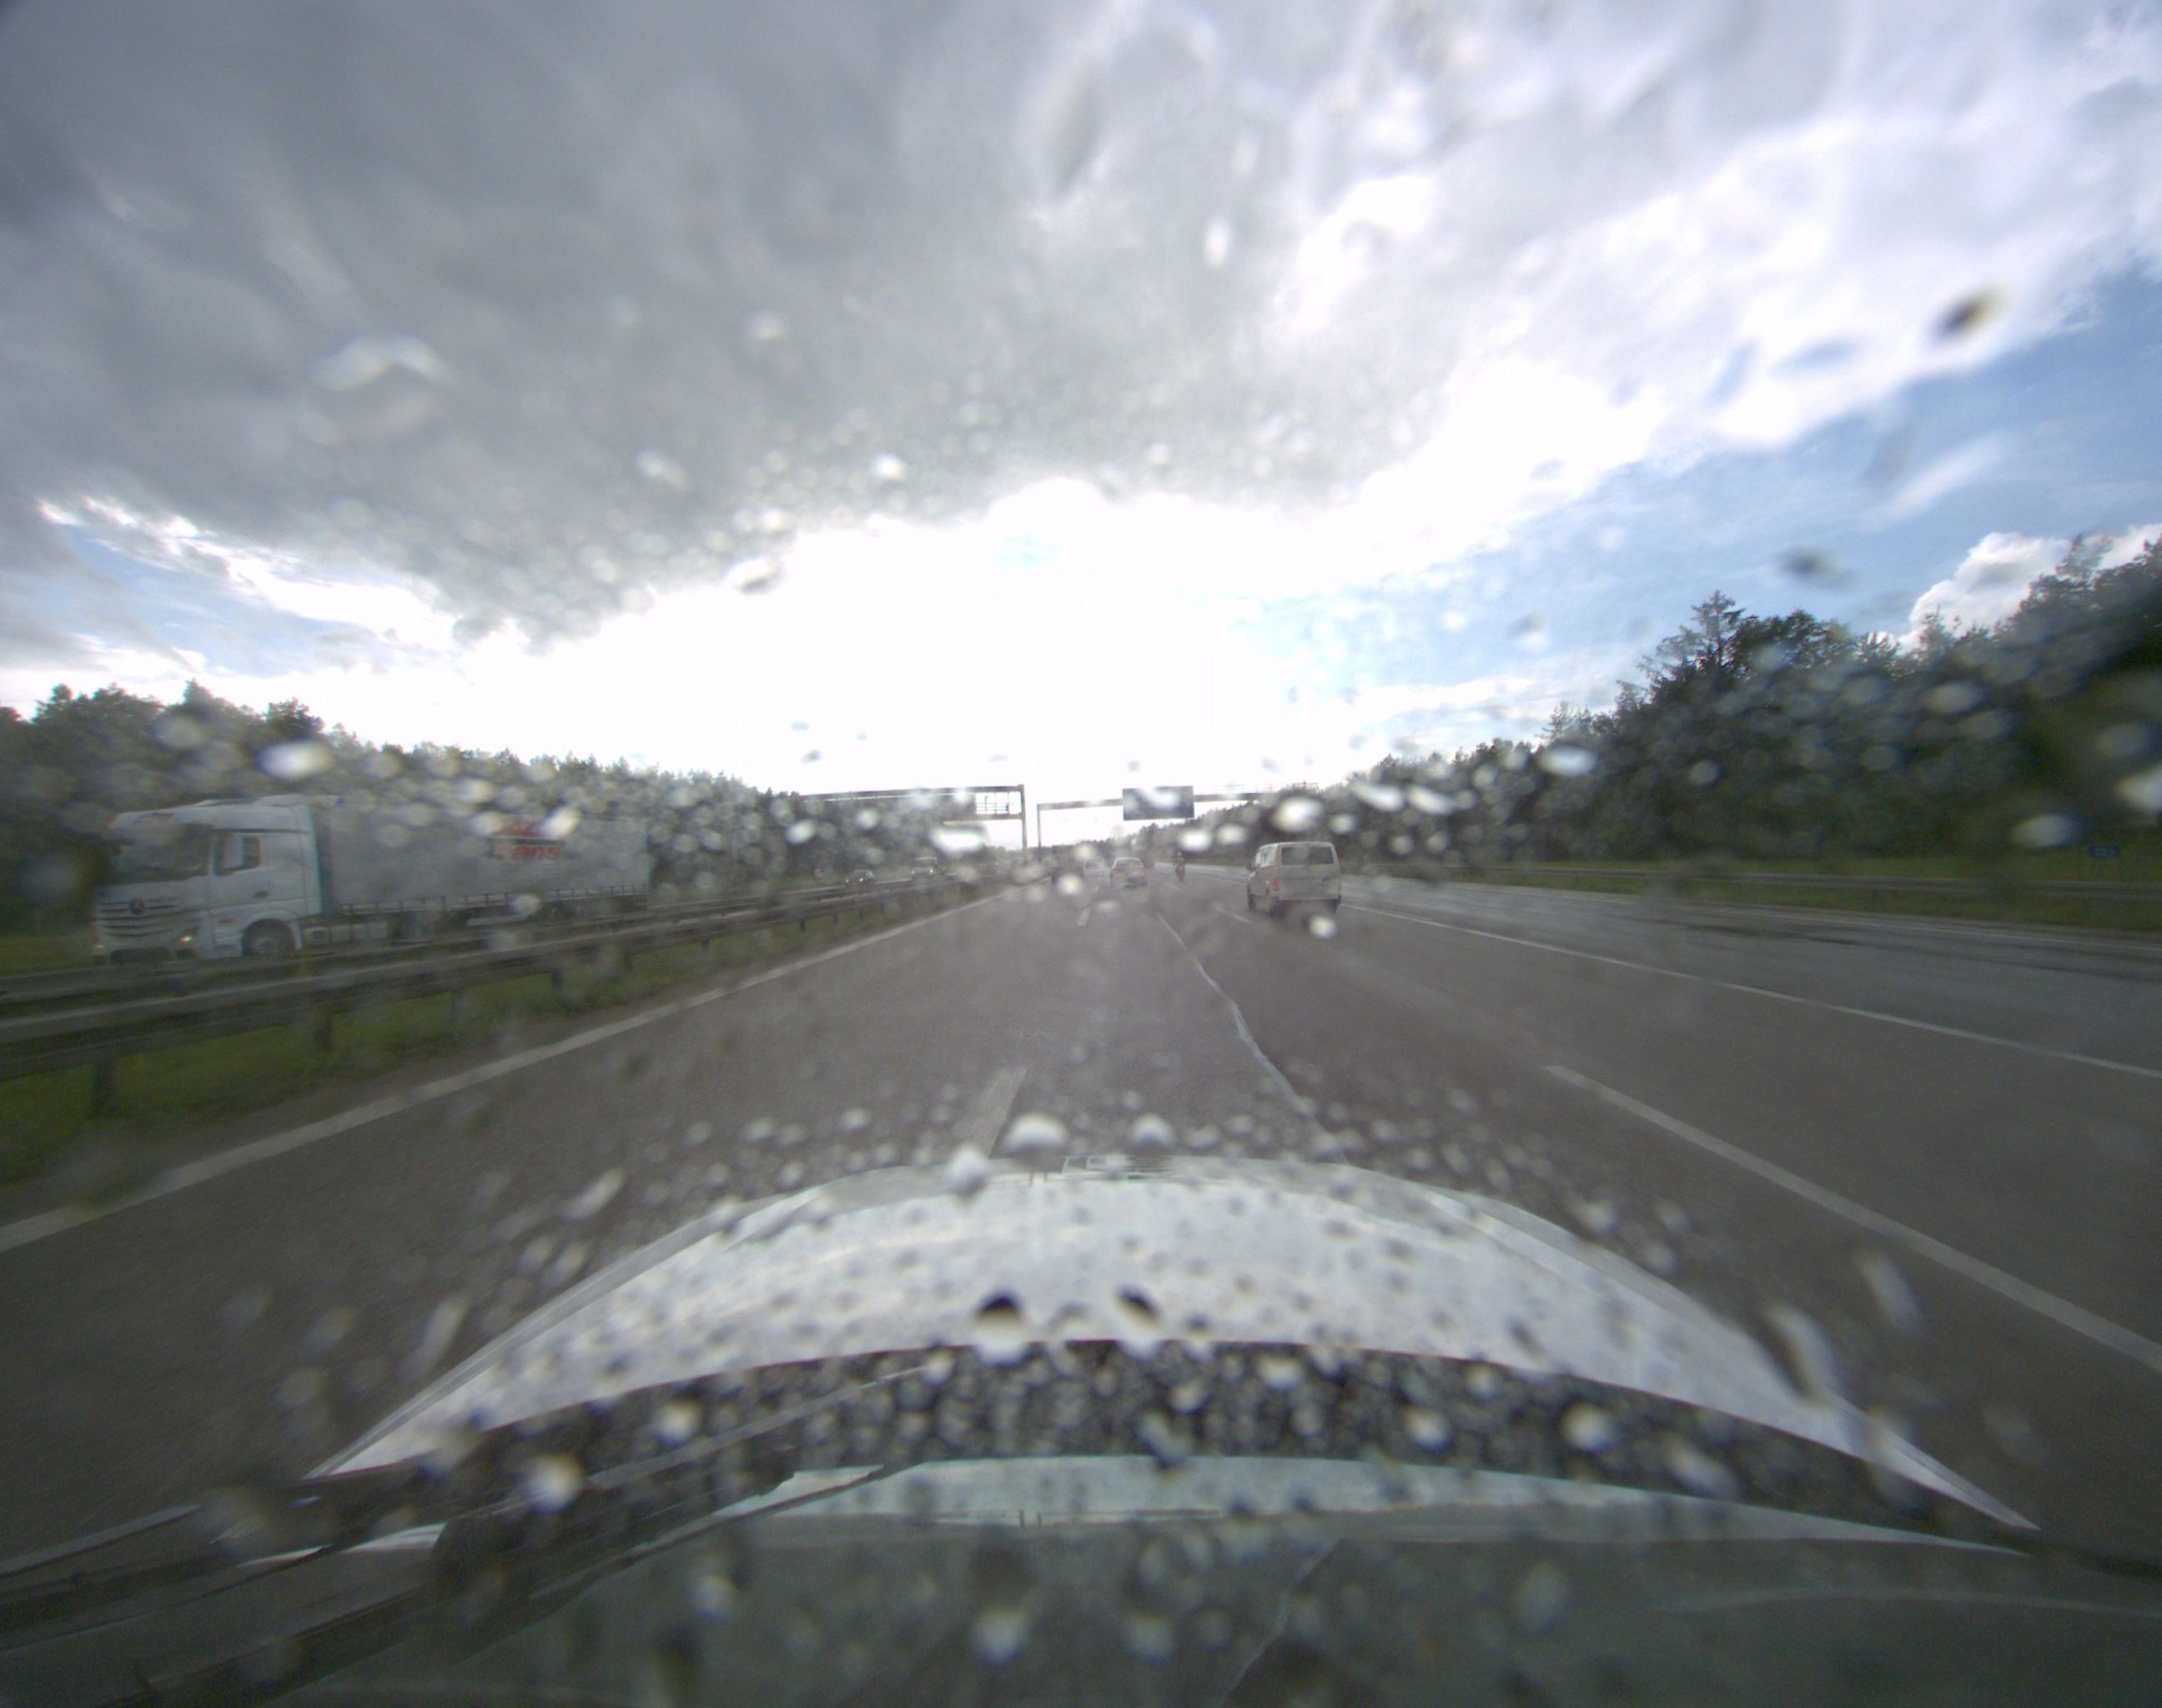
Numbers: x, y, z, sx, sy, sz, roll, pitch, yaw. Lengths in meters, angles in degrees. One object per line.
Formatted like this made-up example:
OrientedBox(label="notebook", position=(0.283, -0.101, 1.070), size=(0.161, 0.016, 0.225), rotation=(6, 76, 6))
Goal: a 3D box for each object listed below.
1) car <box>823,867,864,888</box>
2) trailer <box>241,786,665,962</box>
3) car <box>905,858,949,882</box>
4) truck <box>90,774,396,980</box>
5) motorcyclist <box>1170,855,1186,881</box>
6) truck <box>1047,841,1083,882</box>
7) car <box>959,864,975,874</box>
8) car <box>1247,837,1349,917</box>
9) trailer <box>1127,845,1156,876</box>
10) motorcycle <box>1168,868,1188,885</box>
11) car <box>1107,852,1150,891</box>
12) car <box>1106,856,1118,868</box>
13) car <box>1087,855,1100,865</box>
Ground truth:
OrientedBox(label="car", position=(-17.960, 1.756, 61.770), size=(1.666, 1.459, 4.562), rotation=(-2, 0, 1))
OrientedBox(label="trailer", position=(-18.879, 0.544, 26.937), size=(2.089, 4.241, 14.633), rotation=(0, -1, 2))
OrientedBox(label="car", position=(-13.543, 1.373, 72.064), size=(2.273, 2.013, 6.745), rotation=(0, 0, 4))
OrientedBox(label="truck", position=(-19.262, 0.486, 19.152), size=(2.130, 4.238, 4.710), rotation=(0, -1, 3))
OrientedBox(label="motorcyclist", position=(6.025, 0.864, 50.642), size=(0.888, 1.615, 0.959), rotation=(-1, -1, 1))
OrientedBox(label="truck", position=(-1.021, 0.457, 52.901), size=(2.131, 2.489, 5.310), rotation=(-1, -1, -1))
OrientedBox(label="car", position=(-15.652, 2.076, 111.672), size=(1.619, 1.258, 3.841), rotation=(-1, 0, 1))
OrientedBox(label="car", position=(5.663, 0.555, 21.844), size=(1.953, 1.902, 4.891), rotation=(0, 0, 7))
OrientedBox(label="trailer", position=(8.487, 0.956, 116.432), size=(2.319, 4.002, 13.395), rotation=(-1, -1, -3))
OrientedBox(label="motorcycle", position=(6.027, 1.377, 50.664), size=(0.996, 1.031, 2.174), rotation=(-1, -1, 1))
OrientedBox(label="car", position=(2.529, 0.875, 42.771), size=(2.069, 1.885, 5.016), rotation=(-1, 0, 4))
OrientedBox(label="car", position=(5.238, 1.334, 137.993), size=(1.902, 2.014, 3.999), rotation=(-1, 0, 0))
OrientedBox(label="car", position=(1.817, 0.836, 116.760), size=(1.824, 1.466, 4.001), rotation=(-1, -1, 1))
